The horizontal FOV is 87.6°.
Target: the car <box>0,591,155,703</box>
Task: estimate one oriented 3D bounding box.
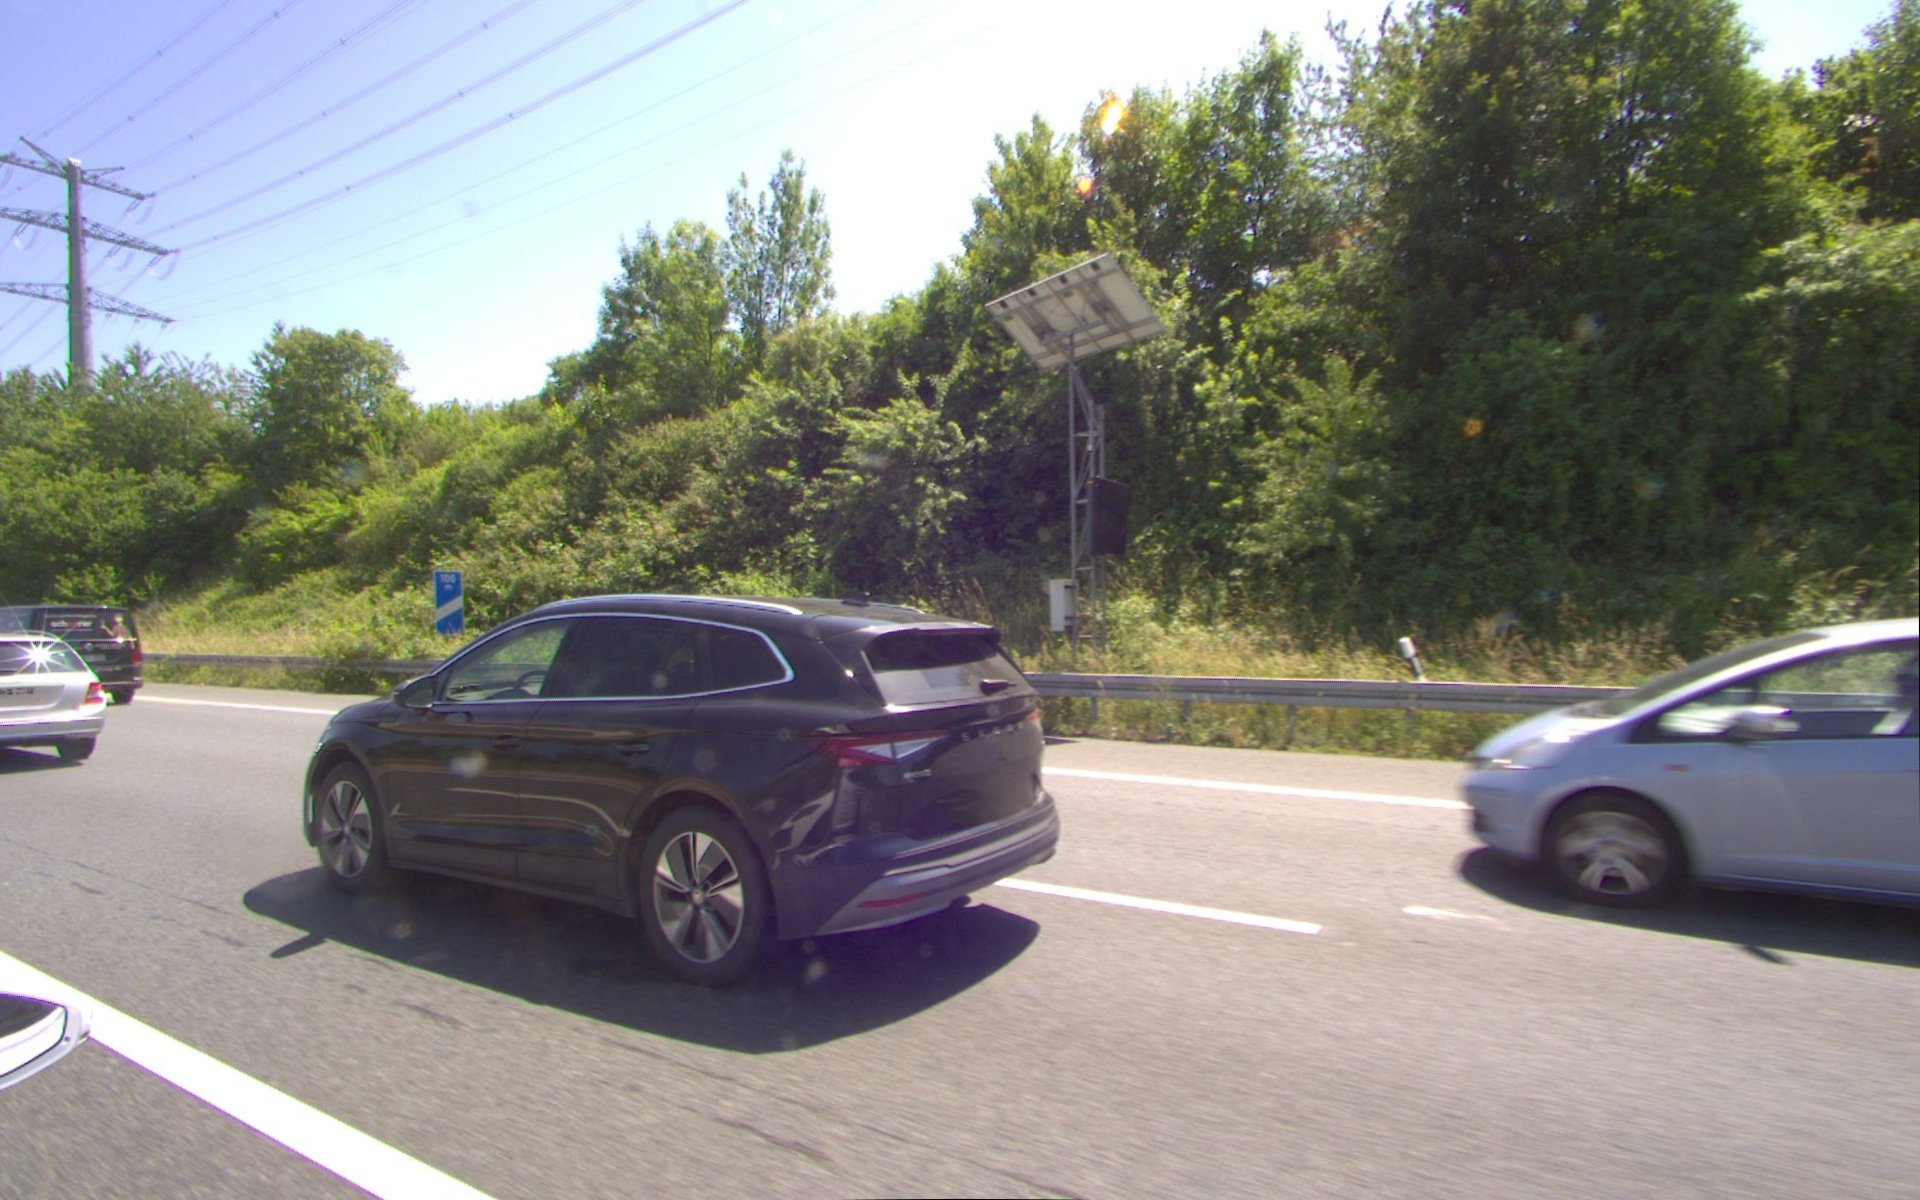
[{"bbox_3d":[-18.151,0.933,20.187,4.168,2.039,1.794,-1,-2,33],"label":"car"}]

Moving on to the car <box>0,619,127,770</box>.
[{"bbox_3d":[-11.500,1.008,11.449,4.297,1.537,1.768,-1,-2,32],"label":"car"}]

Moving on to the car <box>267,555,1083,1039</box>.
[{"bbox_3d":[-1.689,0.751,5.350,4.366,1.676,1.698,-1,-2,32],"label":"car"}]

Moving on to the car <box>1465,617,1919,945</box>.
[{"bbox_3d":[4.782,0.833,5.182,3.734,1.466,1.698,-1,-2,32],"label":"car"}]
